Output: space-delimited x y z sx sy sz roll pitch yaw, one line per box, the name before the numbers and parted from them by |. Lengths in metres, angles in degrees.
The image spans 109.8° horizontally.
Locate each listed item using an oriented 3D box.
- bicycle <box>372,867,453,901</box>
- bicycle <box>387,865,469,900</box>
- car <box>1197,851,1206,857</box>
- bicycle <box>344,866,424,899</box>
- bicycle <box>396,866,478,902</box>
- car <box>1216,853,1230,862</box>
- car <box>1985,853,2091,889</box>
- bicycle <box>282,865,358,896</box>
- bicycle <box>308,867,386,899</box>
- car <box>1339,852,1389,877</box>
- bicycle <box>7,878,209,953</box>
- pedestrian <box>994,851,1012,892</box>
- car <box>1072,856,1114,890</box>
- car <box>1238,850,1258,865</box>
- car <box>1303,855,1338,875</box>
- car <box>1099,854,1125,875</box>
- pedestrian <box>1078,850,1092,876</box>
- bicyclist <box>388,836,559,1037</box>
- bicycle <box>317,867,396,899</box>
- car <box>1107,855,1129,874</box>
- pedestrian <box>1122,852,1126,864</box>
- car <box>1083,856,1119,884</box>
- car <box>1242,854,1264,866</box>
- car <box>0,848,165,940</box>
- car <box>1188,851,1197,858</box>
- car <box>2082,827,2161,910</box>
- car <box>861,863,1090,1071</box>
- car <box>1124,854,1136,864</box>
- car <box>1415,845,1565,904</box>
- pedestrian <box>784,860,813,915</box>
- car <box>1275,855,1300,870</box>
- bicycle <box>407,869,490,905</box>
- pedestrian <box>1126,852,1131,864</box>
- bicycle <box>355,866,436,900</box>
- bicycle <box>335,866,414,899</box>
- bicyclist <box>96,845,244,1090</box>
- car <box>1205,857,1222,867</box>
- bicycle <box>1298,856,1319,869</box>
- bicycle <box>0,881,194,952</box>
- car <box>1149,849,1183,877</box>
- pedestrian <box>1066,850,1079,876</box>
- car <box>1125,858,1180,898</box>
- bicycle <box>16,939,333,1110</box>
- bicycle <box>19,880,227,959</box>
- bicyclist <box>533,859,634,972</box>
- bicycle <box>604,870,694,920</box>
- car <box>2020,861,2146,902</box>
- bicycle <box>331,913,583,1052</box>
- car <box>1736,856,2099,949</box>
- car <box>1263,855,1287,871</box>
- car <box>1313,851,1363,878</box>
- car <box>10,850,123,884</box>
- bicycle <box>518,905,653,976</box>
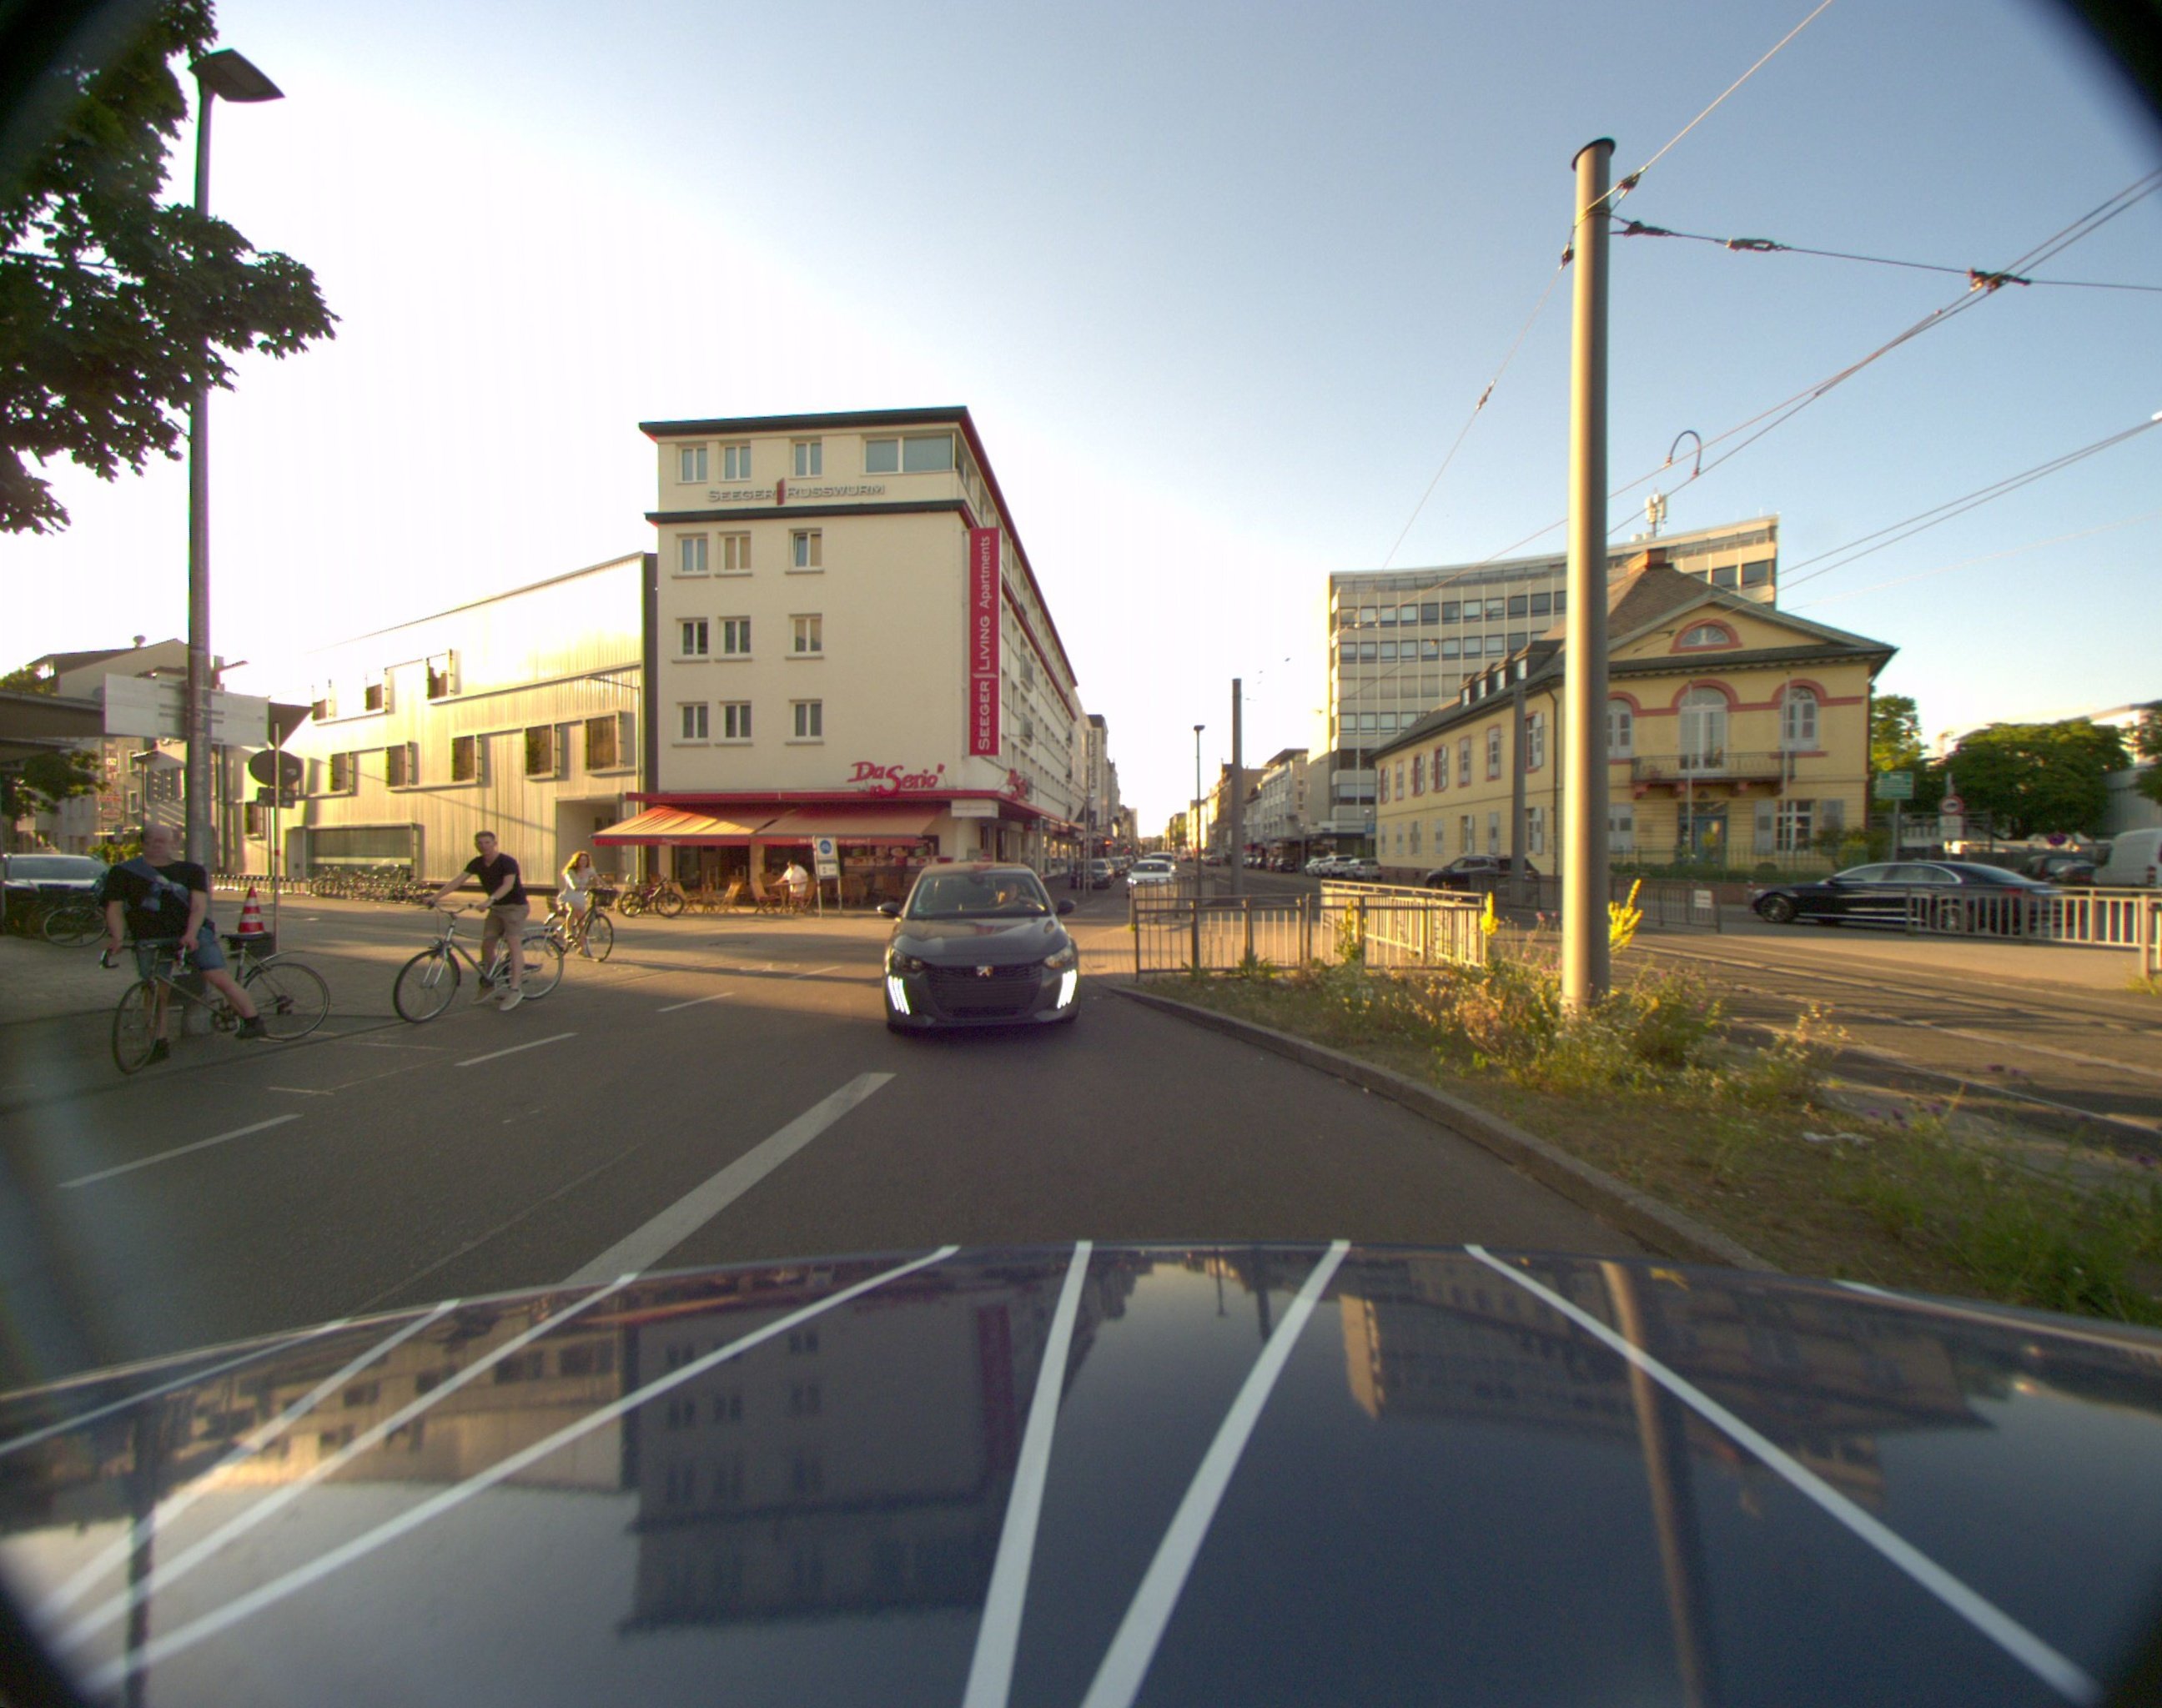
bicycle | -24.722 1.090 28.130 0.702 1.213 2.117 0 -1 27
bicycle | -23.671 1.021 27.596 0.702 1.213 2.117 0 -1 27
car | 30.435 -0.005 192.372 1.998 1.543 4.001 0 0 5
bicycle | -26.532 1.074 28.948 0.702 1.213 2.117 0 -1 27
bicycle | -22.976 1.049 27.160 0.702 1.213 2.117 0 -1 27
car | 25.753 0.674 137.856 1.998 1.535 4.880 -1 0 5
car | 42.843 0.713 34.142 1.994 1.477 4.102 0 0 37
bicycle | -31.450 1.089 31.440 0.703 1.213 2.117 0 -1 20
bicycle | -29.260 1.151 30.323 0.702 1.213 2.117 0 -1 27
car | 18.306 0.649 49.355 1.816 1.608 4.215 0 0 2
bicycle | -17.318 1.046 13.609 0.702 1.213 2.117 0 -1 27
pedestrian | -3.382 0.762 32.963 0.605 1.750 0.525 0 1 -39
car | 0.668 0.899 37.985 1.739 1.503 4.687 2 0 5
car | 22.734 0.411 103.550 1.959 1.965 5.164 1 0 4
car | 19.120 0.832 60.852 1.816 1.503 4.434 1 0 7
car | 2.380 0.794 58.009 1.739 1.503 4.305 2 0 5
pedestrian | 0.285 0.624 50.960 0.828 1.708 0.843 2 1 5
bicyclist | -6.159 0.785 7.781 0.840 1.906 1.115 0 0 1
bicycle | -28.566 1.131 30.004 0.702 1.213 2.117 0 -1 27
car | 3.152 0.841 64.361 1.794 1.503 4.713 2 0 4
pedestrian | 6.351 0.562 112.729 0.610 1.743 0.605 1 1 5
car | 1.180 0.886 43.986 1.789 1.503 4.053 2 0 5
car | 21.739 0.794 96.005 1.998 1.457 4.559 -1 0 4
car | -22.106 0.771 16.352 3.990 1.740 1.896 0 2 22
car | 25.958 0.064 177.187 1.998 1.543 4.002 0 0 5
car | 36.422 0.465 25.668 2.092 2.614 5.437 1 0 42
car | -1.164 0.878 8.019 1.733 1.513 4.330 -1 0 -10
car | 7.663 0.820 119.425 1.681 1.534 3.887 2 0 6
car | 14.390 0.666 27.114 2.001 1.890 4.805 0 0 -13
pedestrian | -7.958 0.933 21.440 0.573 1.532 0.573 0 1 4
car | 20.223 0.807 74.625 1.689 1.503 4.216 0 0 5
bicycle | -22.204 1.128 26.735 0.702 1.213 2.117 0 -1 27
pedestrian | 7.046 0.603 112.668 0.605 1.717 0.646 1 1 5
bicycle | -25.721 1.085 28.557 0.702 1.213 2.117 0 -1 27
bicycle | -27.408 1.098 29.510 0.702 1.213 2.117 0 -1 27
bicyclist | -7.076 0.846 5.927 0.466 1.819 0.559 0 1 -3
car | 19.996 1.203 114.872 1.739 1.503 4.034 0 0 0
bicycle | 24.889 0.957 83.189 1.973 1.417 0.834 1 1 3
bicycle | -18.383 1.138 14.252 0.702 1.212 2.118 0 -3 27
car | 5.639 0.583 50.760 1.998 1.805 4.001 0 0 3
pedestrian | -0.583 0.584 51.596 0.730 1.731 0.863 2 1 5
car | 2.802 0.907 30.131 1.998 1.450 4.001 0 0 5
bicycle | -7.086 1.267 6.100 0.466 0.965 1.800 0 0 -3
bicycle | -16.352 1.064 13.053 0.702 1.213 2.117 0 -1 27
bicyclist | -7.535 0.882 11.512 1.112 1.613 0.842 0 1 29
bicycle | -11.665 1.092 20.551 2.110 1.280 0.705 0 1 8
car | 39.959 1.048 30.453 1.994 1.477 4.102 0 0 37
bicycle | -6.172 1.218 7.728 0.840 1.014 2.077 0 2 -1
car | 16.622 0.843 15.525 2.001 1.576 4.580 0 0 -15
car | 20.328 0.918 79.800 1.689 1.503 4.216 8 1 5
car | 18.382 0.715 54.616 1.817 1.775 4.496 -3 0 -2
car | -63.553 0.776 47.667 1.995 2.002 4.007 -1 0 31
bicycle | -7.519 1.267 11.510 2.007 0.876 0.842 0 1 28
